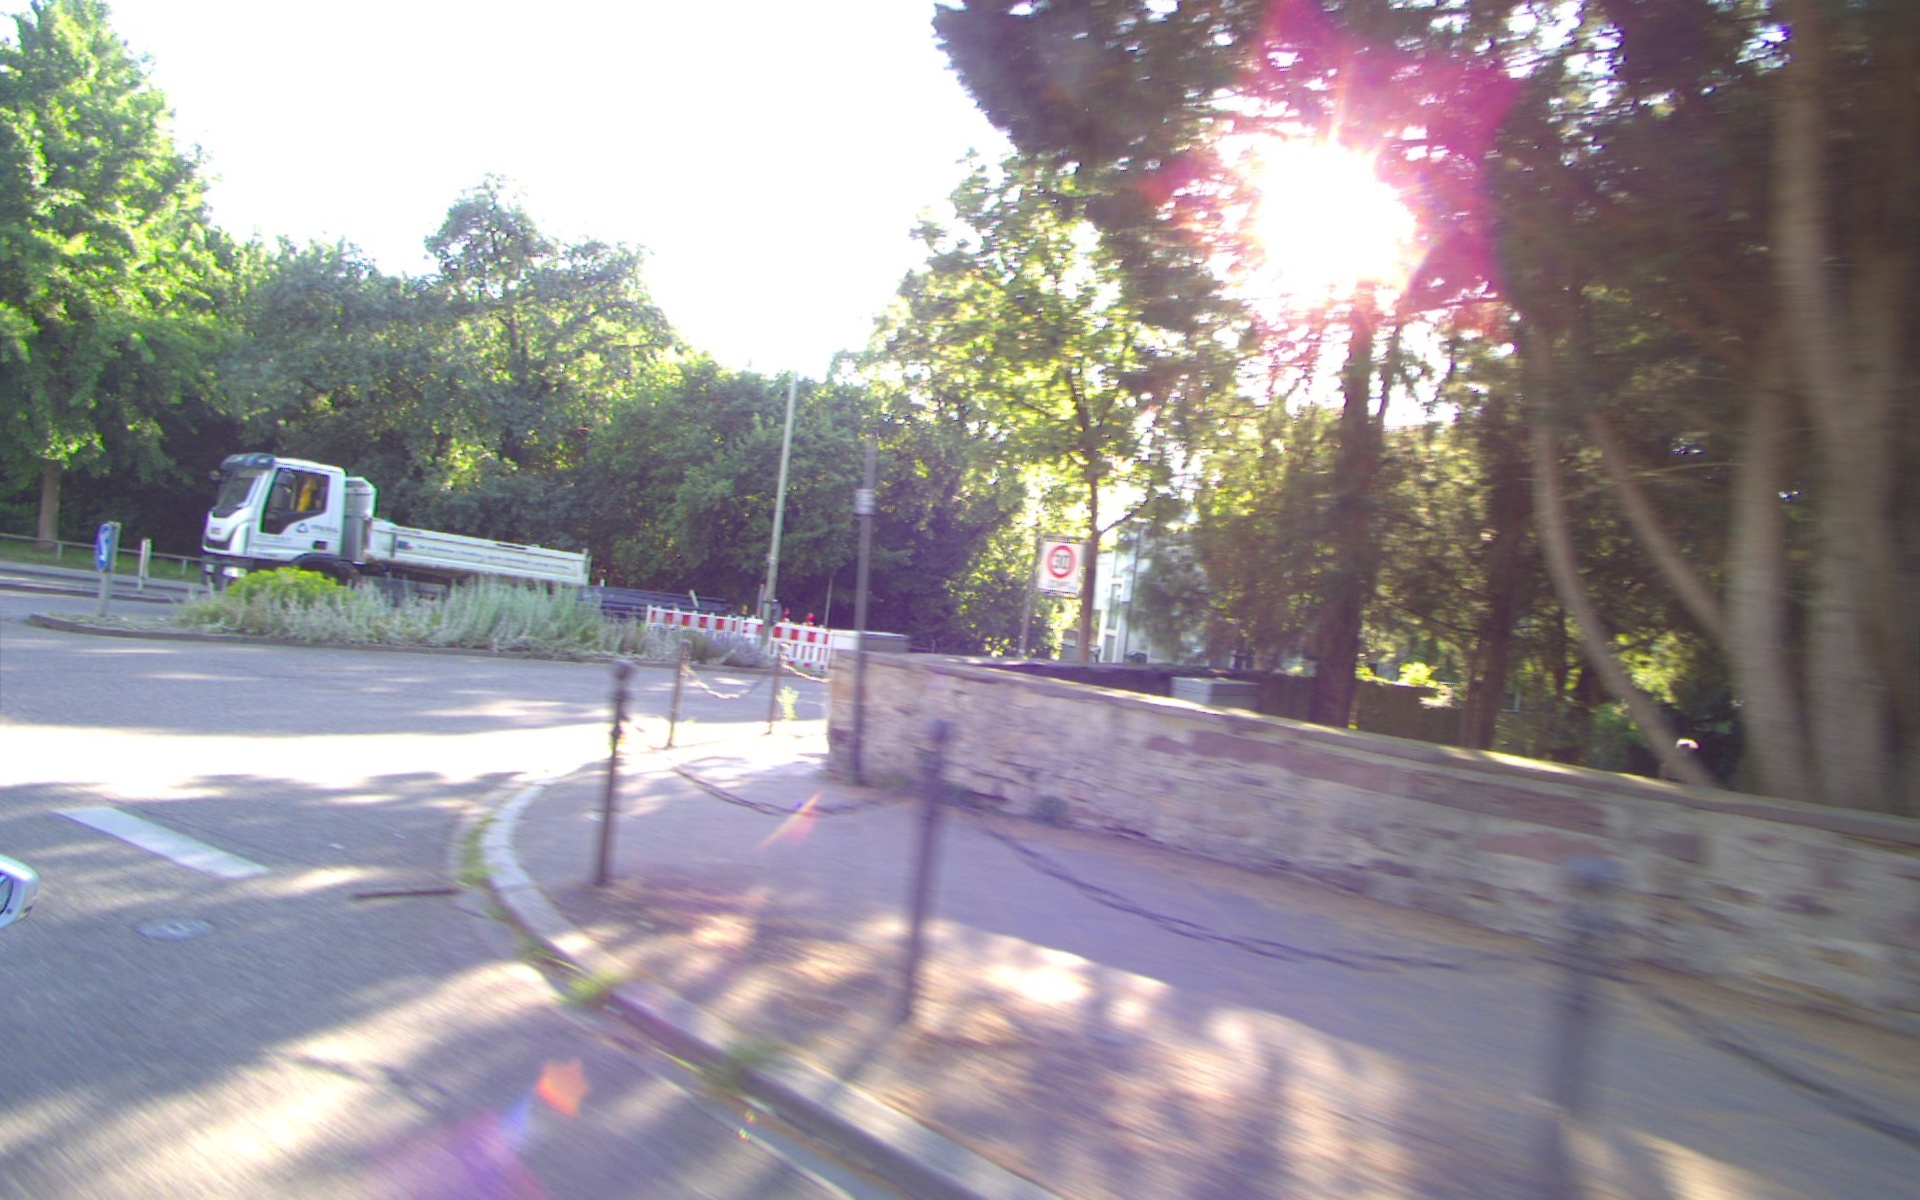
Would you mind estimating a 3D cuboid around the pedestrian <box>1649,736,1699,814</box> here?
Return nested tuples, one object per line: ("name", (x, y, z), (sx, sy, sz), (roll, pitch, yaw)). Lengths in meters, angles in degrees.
("pedestrian", (14.647, 3.579, 20.645), (0.664, 1.468, 0.601), (7, -1, 33))

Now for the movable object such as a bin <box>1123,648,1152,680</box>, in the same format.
("movable object such as a bin", (9.144, 3.303, 51.839), (1.076, 1.485, 1.081), (6, -1, -5))

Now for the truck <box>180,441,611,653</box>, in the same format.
("truck", (-10.532, -0.816, 19.406), (2.399, 2.928, 6.582), (7, -2, 41))
